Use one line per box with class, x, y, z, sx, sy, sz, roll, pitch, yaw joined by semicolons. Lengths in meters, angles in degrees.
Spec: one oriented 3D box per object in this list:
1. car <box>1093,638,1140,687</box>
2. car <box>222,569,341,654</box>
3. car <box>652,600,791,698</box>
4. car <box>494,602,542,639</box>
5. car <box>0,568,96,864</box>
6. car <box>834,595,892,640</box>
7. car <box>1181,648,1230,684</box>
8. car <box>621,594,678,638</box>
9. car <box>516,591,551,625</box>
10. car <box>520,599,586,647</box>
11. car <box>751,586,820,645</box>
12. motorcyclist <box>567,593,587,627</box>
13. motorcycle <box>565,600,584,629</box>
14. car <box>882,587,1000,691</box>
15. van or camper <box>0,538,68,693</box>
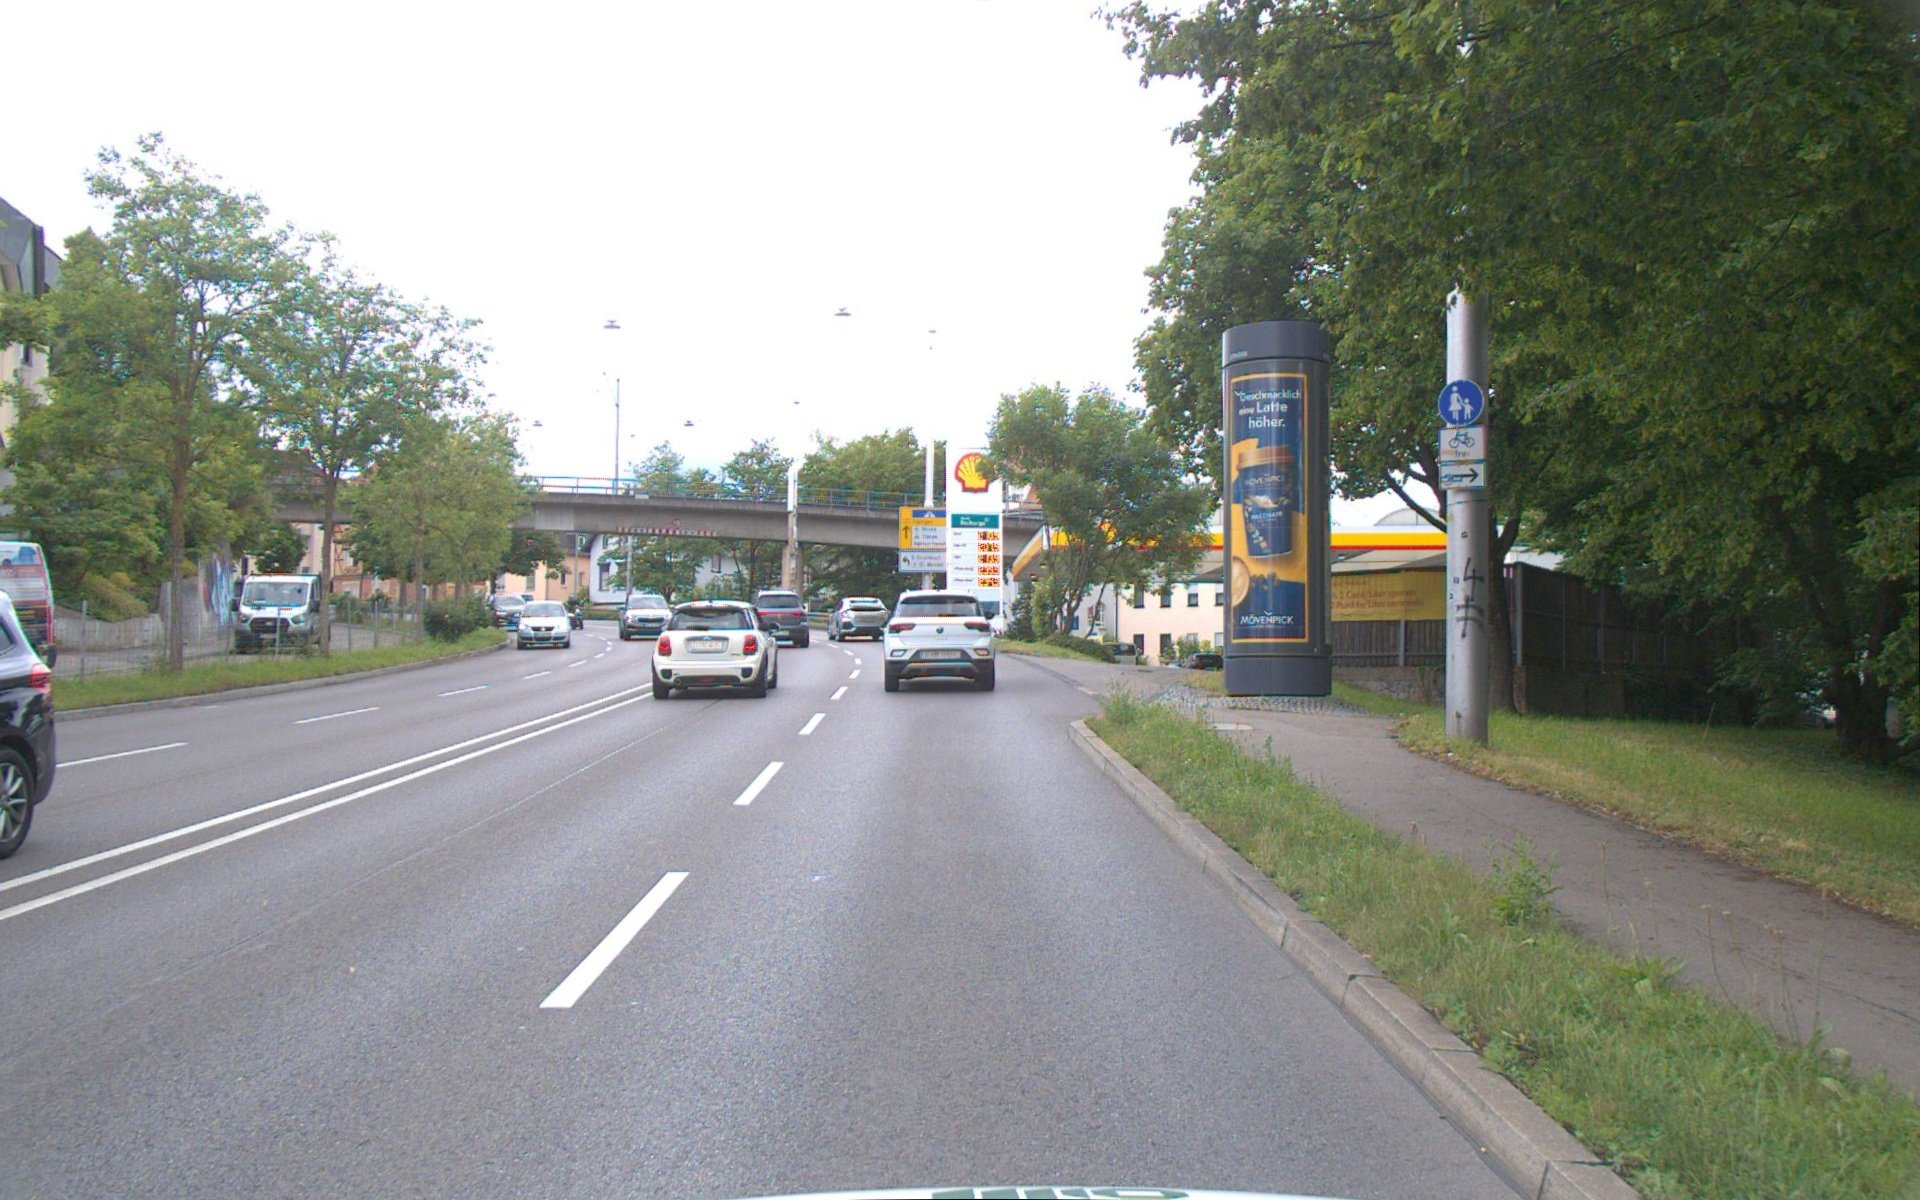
car;6.977;2.825;74.106;1.699;2.046;4.712;-1;-4;1
car;-19.791;0.311;48.532;2.229;2.312;6.304;0;0;-13
car;-3.630;0.716;25.724;1.687;1.400;3.456;1;0;-1
car;-20.359;0.900;76.025;1.759;1.603;4.442;-1;0;-20
car;-6.087;0.627;7.835;1.728;1.620;4.365;1;0;-1
car;-3.255;0.561;55.028;1.644;1.433;3.450;1;0;-8
car;11.141;3.023;75.230;1.699;1.512;3.877;-1;-4;1
car;-11.293;0.552;60.326;1.751;1.565;4.069;0;0;-7
car;-25.331;0.467;98.232;1.867;1.971;3.981;0;0;-17
car;-13.022;0.704;53.094;1.535;1.456;3.886;1;0;-6
car;-5.147;0.449;49.108;1.687;1.668;3.456;1;0;-1
motorcyclist;-17.996;0.474;77.641;0.789;1.583;0.994;0;0;-21
motorcycle;-18.084;0.656;77.548;0.582;1.327;2.442;0;0;-21
car;-0.313;0.593;26.705;1.760;1.545;3.456;1;0;-1
van or camper;-16.618;0.257;26.094;1.952;2.516;5.710;0;0;0
